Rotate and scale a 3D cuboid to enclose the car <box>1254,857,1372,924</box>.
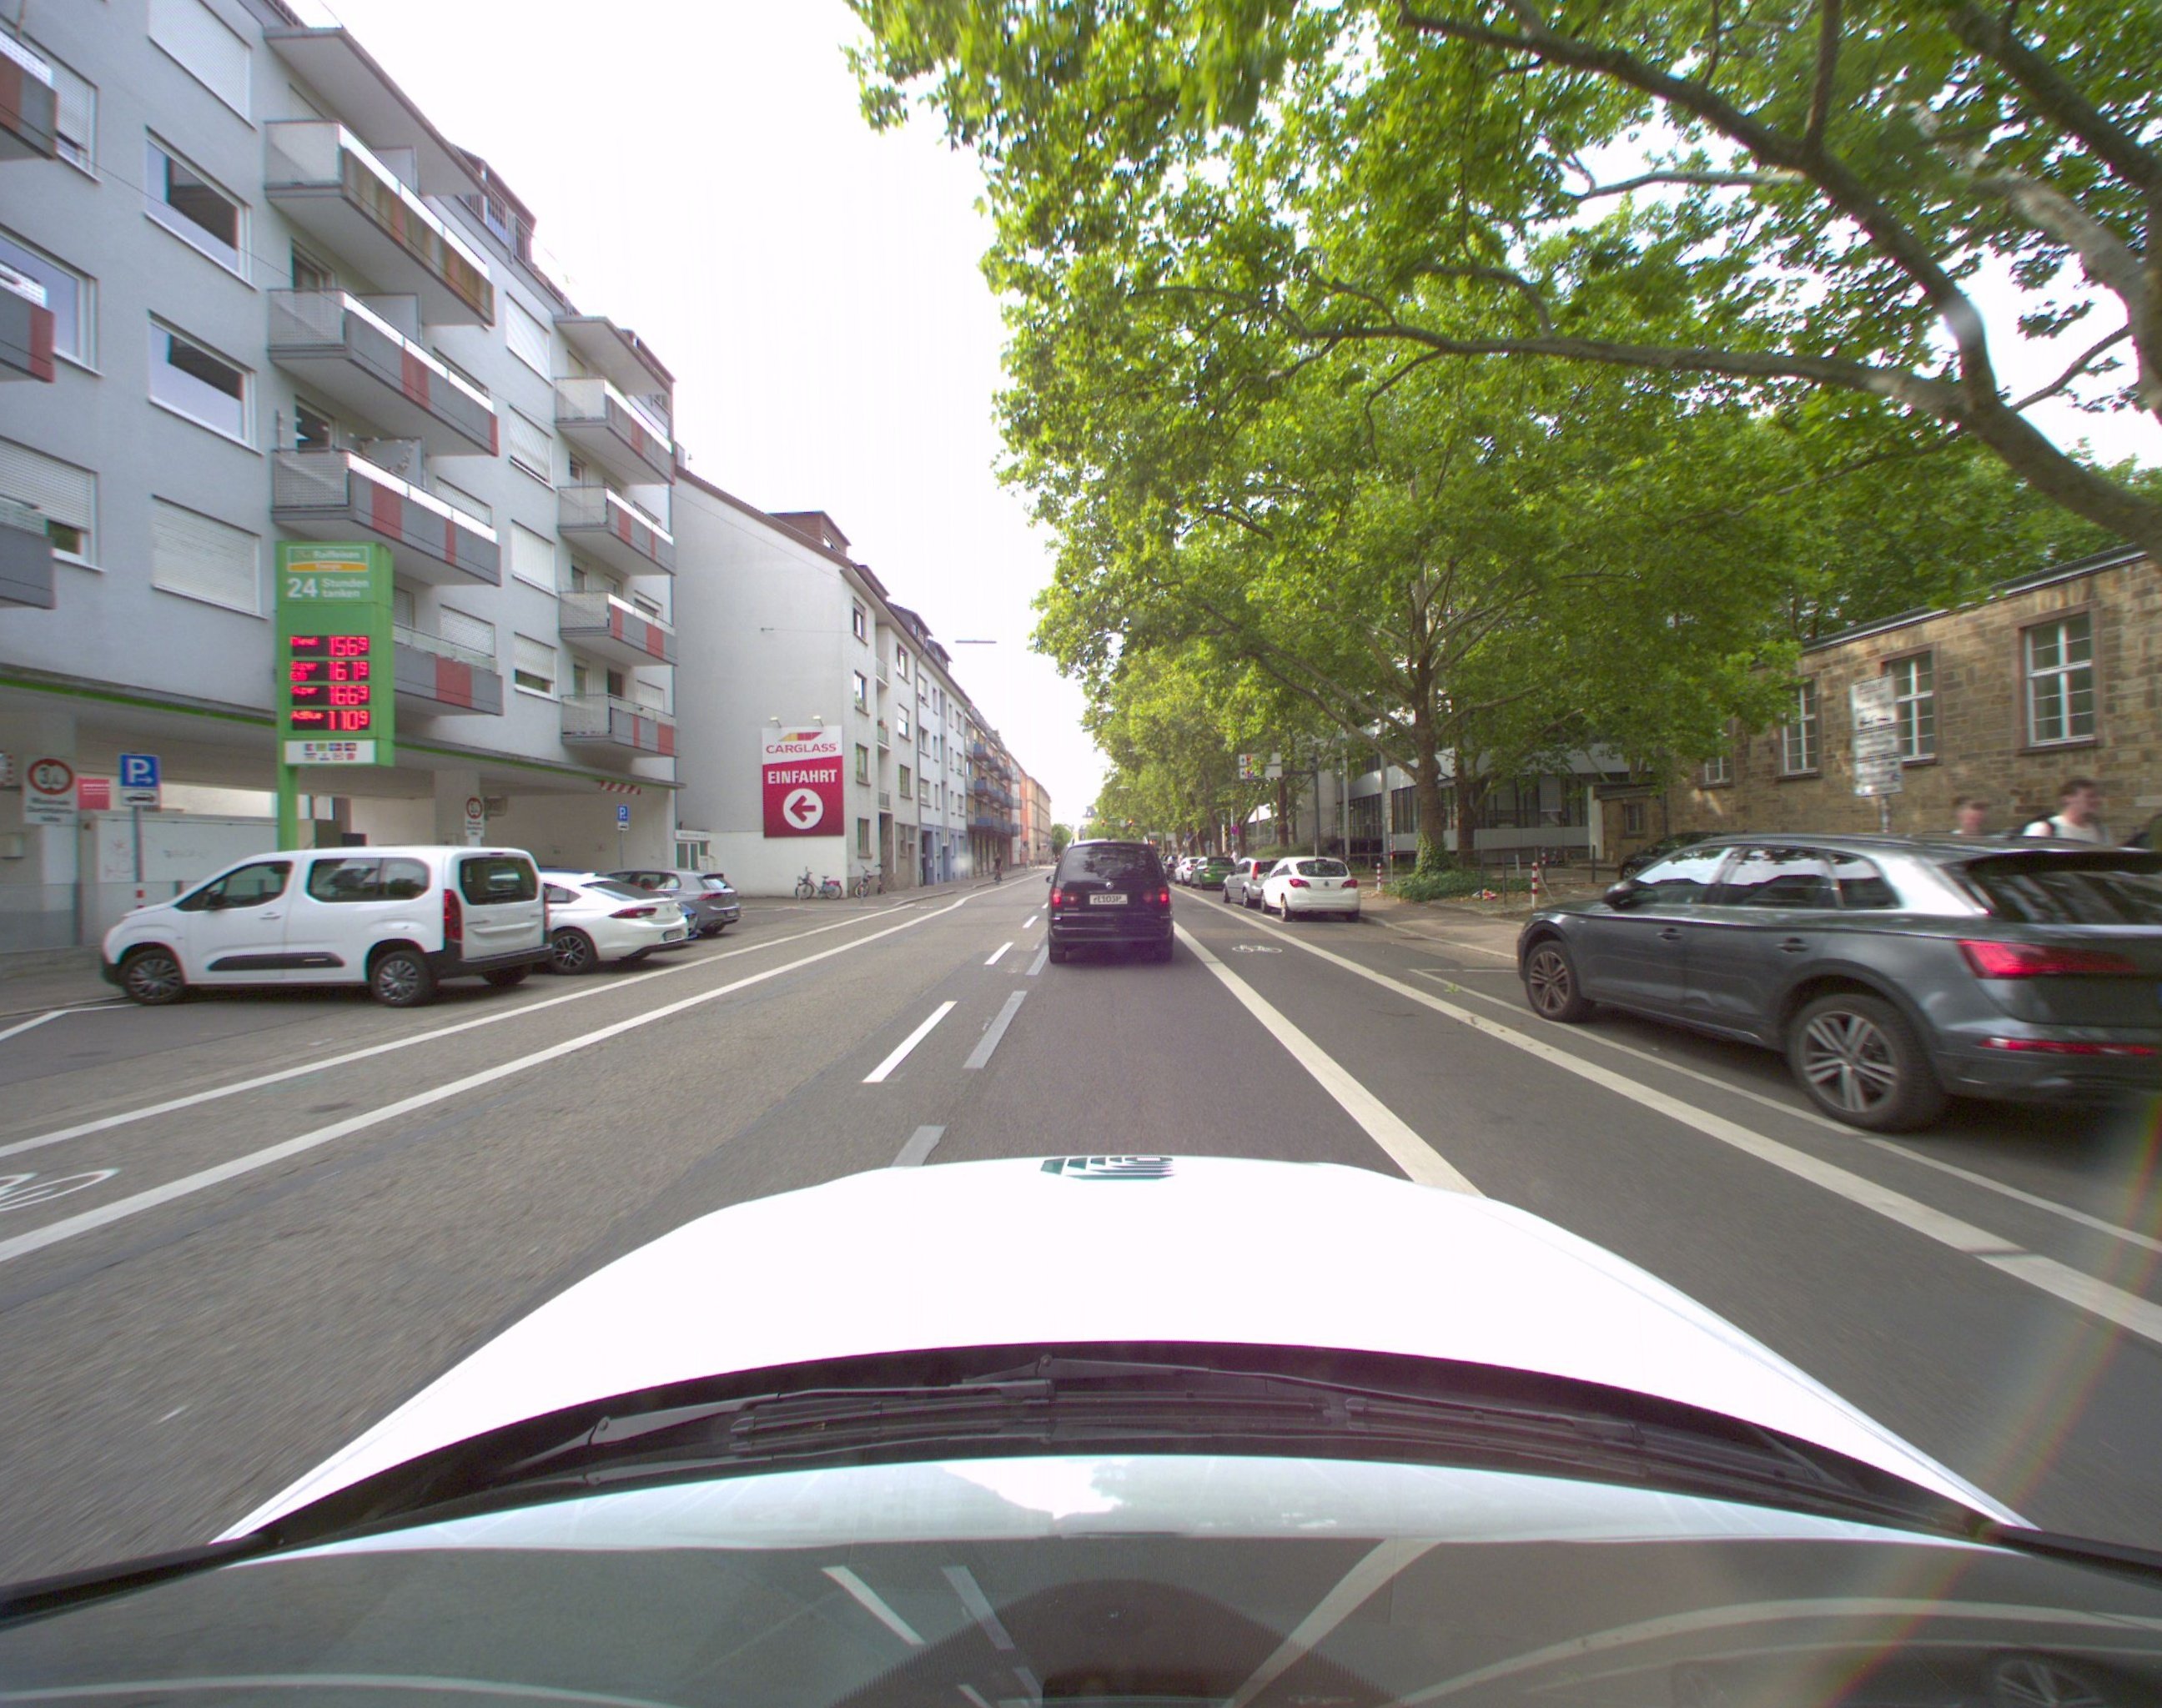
[{"bbox_3d":[5.405,0.786,19.532,1.669,1.394,4.463,0,0,2],"label":"car"}]

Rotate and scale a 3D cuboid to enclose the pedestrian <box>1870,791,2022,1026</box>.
[{"bbox_3d":[6.502,0.393,6.145,0.585,1.701,0.508,0,1,2],"label":"pedestrian"}]

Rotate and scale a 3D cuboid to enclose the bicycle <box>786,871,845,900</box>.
[{"bbox_3d":[-9.629,1.141,29.553,2.000,1.034,0.410,0,1,2],"label":"bicycle"}]

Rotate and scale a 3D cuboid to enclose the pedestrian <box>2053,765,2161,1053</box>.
[{"bbox_3d":[7.750,0.370,5.863,0.640,1.975,0.692,0,1,2],"label":"pedestrian"}]

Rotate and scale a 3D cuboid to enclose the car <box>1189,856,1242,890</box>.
[{"bbox_3d":[5.836,0.787,35.632,1.637,1.413,3.413,0,0,-2],"label":"car"}]

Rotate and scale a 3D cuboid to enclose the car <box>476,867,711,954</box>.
[{"bbox_3d":[-8.885,1.005,15.042,3.333,1.497,1.596,0,0,-1],"label":"car"}]

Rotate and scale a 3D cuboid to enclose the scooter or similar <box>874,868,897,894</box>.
[{"bbox_3d":[-8.116,1.136,33.928,0.630,1.034,2.011,0,-2,-5],"label":"scooter or similar"}]

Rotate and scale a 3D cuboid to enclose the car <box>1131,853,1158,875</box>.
[{"bbox_3d":[5.080,0.775,65.282,1.738,1.689,3.802,-1,0,-1],"label":"car"}]

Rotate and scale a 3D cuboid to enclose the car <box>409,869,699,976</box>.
[{"bbox_3d":[-7.888,0.989,12.424,3.333,1.497,1.596,0,0,-1],"label":"car"}]

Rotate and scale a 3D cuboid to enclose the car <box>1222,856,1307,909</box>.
[{"bbox_3d":[5.340,0.795,24.099,1.637,1.413,3.413,0,0,-2],"label":"car"}]

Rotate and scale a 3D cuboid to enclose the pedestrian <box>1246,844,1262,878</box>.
[{"bbox_3d":[9.442,0.382,44.393,0.764,1.831,0.516,-1,0,2],"label":"pedestrian"}]

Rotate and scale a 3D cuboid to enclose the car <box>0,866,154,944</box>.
[{"bbox_3d":[-20.803,0.982,15.443,1.773,1.398,4.002,-2,0,2],"label":"car"}]

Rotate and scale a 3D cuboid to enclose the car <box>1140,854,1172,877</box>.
[{"bbox_3d":[5.495,0.836,60.141,1.864,1.508,3.997,0,2,-3],"label":"car"}]

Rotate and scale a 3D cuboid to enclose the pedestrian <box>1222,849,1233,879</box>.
[{"bbox_3d":[8.251,0.545,45.908,0.508,1.680,0.516,-1,0,2],"label":"pedestrian"}]

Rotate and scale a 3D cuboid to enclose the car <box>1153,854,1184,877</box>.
[{"bbox_3d":[5.915,0.778,55.489,1.637,1.487,3.509,0,0,-2],"label":"car"}]

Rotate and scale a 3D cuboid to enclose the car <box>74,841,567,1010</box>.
[{"bbox_3d":[-9.125,0.808,10.079,4.294,1.870,1.824,1,0,-1],"label":"car"}]

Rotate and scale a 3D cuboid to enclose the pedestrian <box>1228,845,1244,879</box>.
[{"bbox_3d":[8.434,0.417,44.236,0.764,1.831,0.516,-1,0,2],"label":"pedestrian"}]

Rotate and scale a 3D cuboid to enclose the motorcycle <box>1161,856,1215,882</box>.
[{"bbox_3d":[5.828,0.792,44.269,2.827,1.325,0.765,-1,0,1],"label":"motorcycle"}]

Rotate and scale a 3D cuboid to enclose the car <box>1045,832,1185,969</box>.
[{"bbox_3d":[0.401,0.612,12.531,1.807,1.766,3.735,-1,0,-2],"label":"car"}]

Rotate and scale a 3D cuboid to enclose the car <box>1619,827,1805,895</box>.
[{"bbox_3d":[14.783,0.100,19.374,1.466,1.458,3.918,0,2,1],"label":"car"}]

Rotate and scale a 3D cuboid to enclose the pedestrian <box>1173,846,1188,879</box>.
[{"bbox_3d":[5.583,0.468,45.698,0.764,1.831,0.516,-1,0,2],"label":"pedestrian"}]

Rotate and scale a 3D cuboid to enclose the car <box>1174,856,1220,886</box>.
[{"bbox_3d":[5.714,0.823,40.401,1.637,1.395,3.509,0,0,-2],"label":"car"}]

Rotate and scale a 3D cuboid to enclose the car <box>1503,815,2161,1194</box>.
[{"bbox_3d":[5.026,0.658,5.807,1.663,1.640,4.502,1,0,-1],"label":"car"}]

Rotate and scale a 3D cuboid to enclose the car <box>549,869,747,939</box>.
[{"bbox_3d":[-9.030,1.022,17.177,3.333,1.402,1.503,0,0,-1],"label":"car"}]

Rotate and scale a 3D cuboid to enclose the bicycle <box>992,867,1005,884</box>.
[{"bbox_3d":[-5.060,1.320,50.062,0.629,1.034,2.014,0,-3,-1],"label":"bicycle"}]

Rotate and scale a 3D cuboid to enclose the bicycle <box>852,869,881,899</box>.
[{"bbox_3d":[-8.171,1.129,31.097,0.629,1.034,2.014,0,1,-2],"label":"bicycle"}]

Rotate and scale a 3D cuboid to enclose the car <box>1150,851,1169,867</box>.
[{"bbox_3d":[8.494,0.530,88.829,1.781,1.772,4.002,-1,0,2],"label":"car"}]

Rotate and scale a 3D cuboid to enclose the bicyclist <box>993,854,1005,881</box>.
[{"bbox_3d":[-5.059,0.830,50.191,0.652,1.611,0.655,0,-3,-2],"label":"bicyclist"}]

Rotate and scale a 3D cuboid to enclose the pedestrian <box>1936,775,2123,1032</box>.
[{"bbox_3d":[7.158,0.348,6.184,0.585,1.838,0.692,0,1,2],"label":"pedestrian"}]

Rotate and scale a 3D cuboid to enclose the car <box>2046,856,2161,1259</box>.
[{"bbox_3d":[4.747,0.730,1.165,1.624,1.470,4.317,-1,0,0],"label":"car"}]
